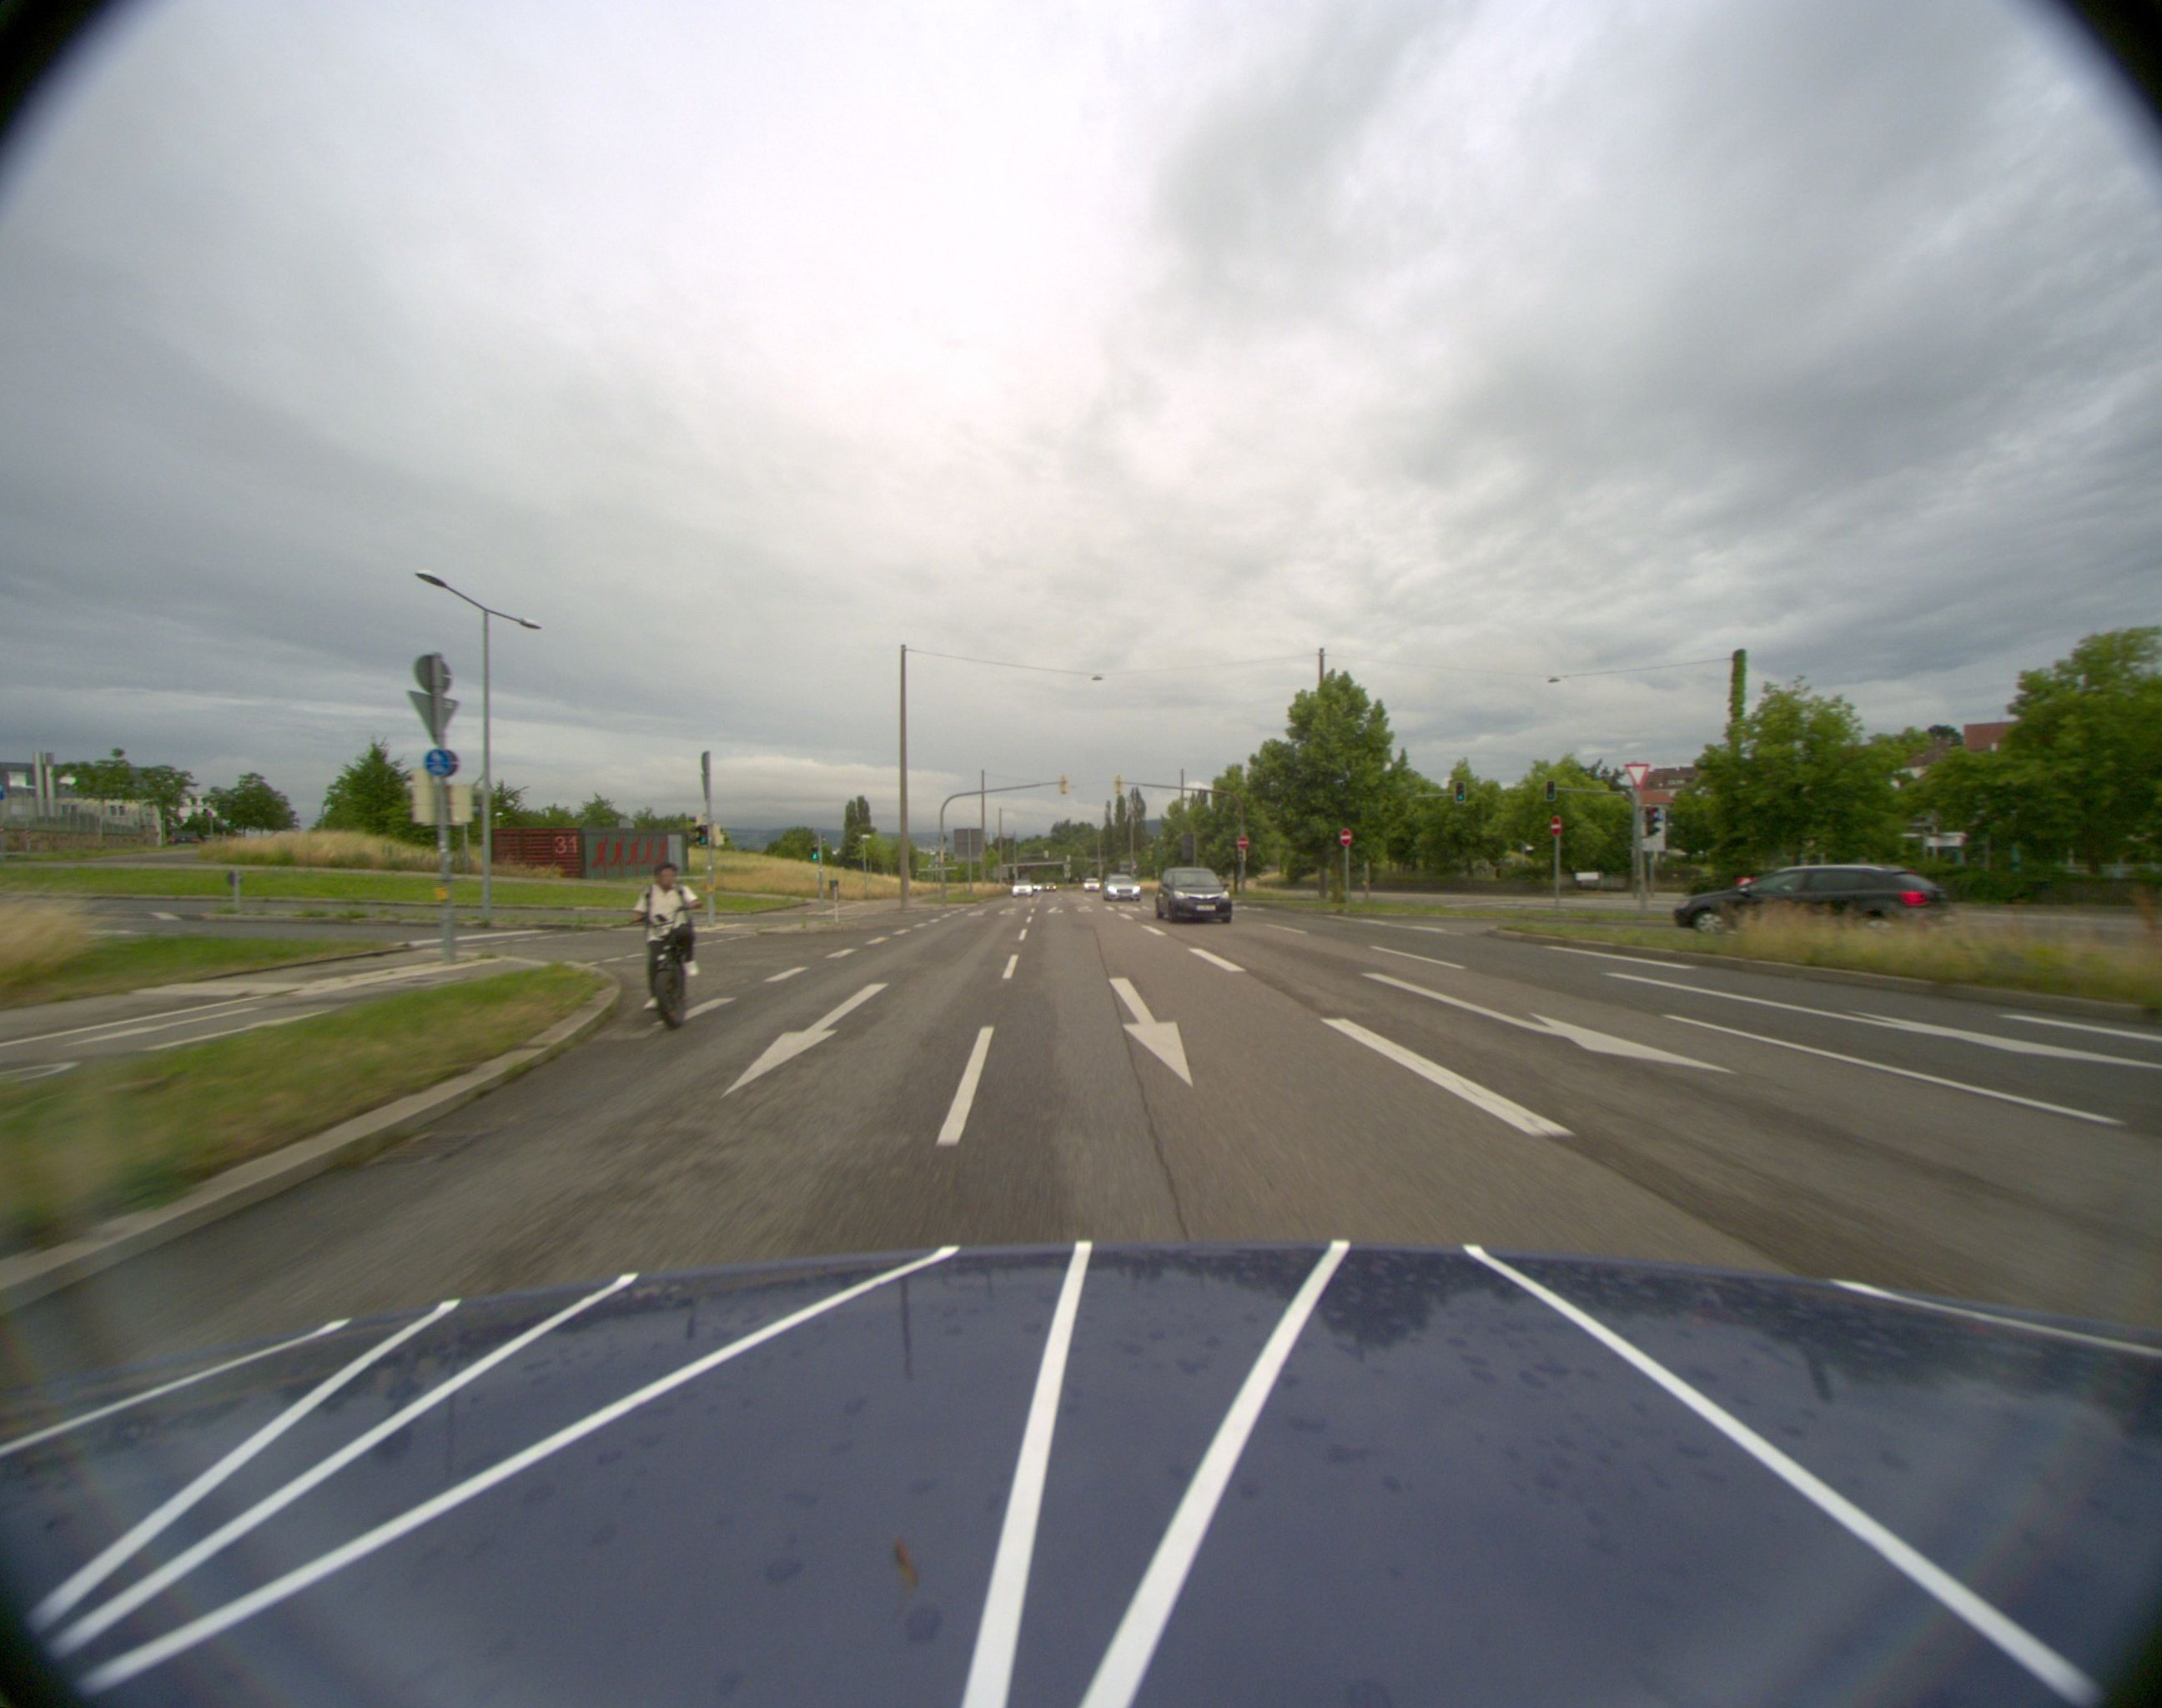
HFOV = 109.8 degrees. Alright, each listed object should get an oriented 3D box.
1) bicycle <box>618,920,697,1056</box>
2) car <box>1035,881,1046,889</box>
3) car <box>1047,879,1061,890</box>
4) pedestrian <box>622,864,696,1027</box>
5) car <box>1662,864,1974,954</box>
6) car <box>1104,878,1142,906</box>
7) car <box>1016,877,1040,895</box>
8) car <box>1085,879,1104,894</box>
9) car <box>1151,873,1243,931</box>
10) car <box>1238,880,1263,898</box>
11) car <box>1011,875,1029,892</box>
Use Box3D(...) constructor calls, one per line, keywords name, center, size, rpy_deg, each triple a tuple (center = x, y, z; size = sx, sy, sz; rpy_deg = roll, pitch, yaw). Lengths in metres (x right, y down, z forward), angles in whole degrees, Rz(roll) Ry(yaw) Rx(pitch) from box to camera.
Box3D(name="bicycle", center=(-4.316, 1.291, 7.807), size=(0.636, 1.098, 1.749), rpy_deg=(0, -1, -28))
Box3D(name="car", center=(-8.506, 6.491, 159.897), size=(1.999, 1.632, 4.627), rpy_deg=(-3, -1, -6))
Box3D(name="car", center=(-4.718, 5.296, 131.886), size=(2.000, 1.632, 4.627), rpy_deg=(-3, -1, -6))
Box3D(name="pedestrian", center=(-4.349, 0.889, 7.863), size=(0.636, 1.561, 0.894), rpy_deg=(0, 0, -28))
Box3D(name="car", center=(14.187, 0.971, 14.916), size=(1.898, 1.498, 3.992), rpy_deg=(1, -1, -26))
Box3D(name="car", center=(2.384, 2.135, 43.517), size=(1.998, 1.399, 4.527), rpy_deg=(-3, -2, 2))
Box3D(name="car", center=(-4.735, 2.838, 68.300), size=(1.725, 1.513, 4.229), rpy_deg=(-1, -2, 2))
Box3D(name="car", center=(1.684, 4.109, 96.246), size=(1.999, 1.632, 4.629), rpy_deg=(-3, -1, -2))
Box3D(name="car", center=(3.305, 1.349, 22.410), size=(1.801, 1.556, 4.042), rpy_deg=(0, -2, -5))
Box3D(name="car", center=(19.918, 4.093, 89.634), size=(1.999, 2.001, 4.001), rpy_deg=(0, -1, -1))
Box3D(name="car", center=(-7.071, 3.403, 88.479), size=(1.843, 1.532, 3.816), rpy_deg=(-4, 2, -3))
